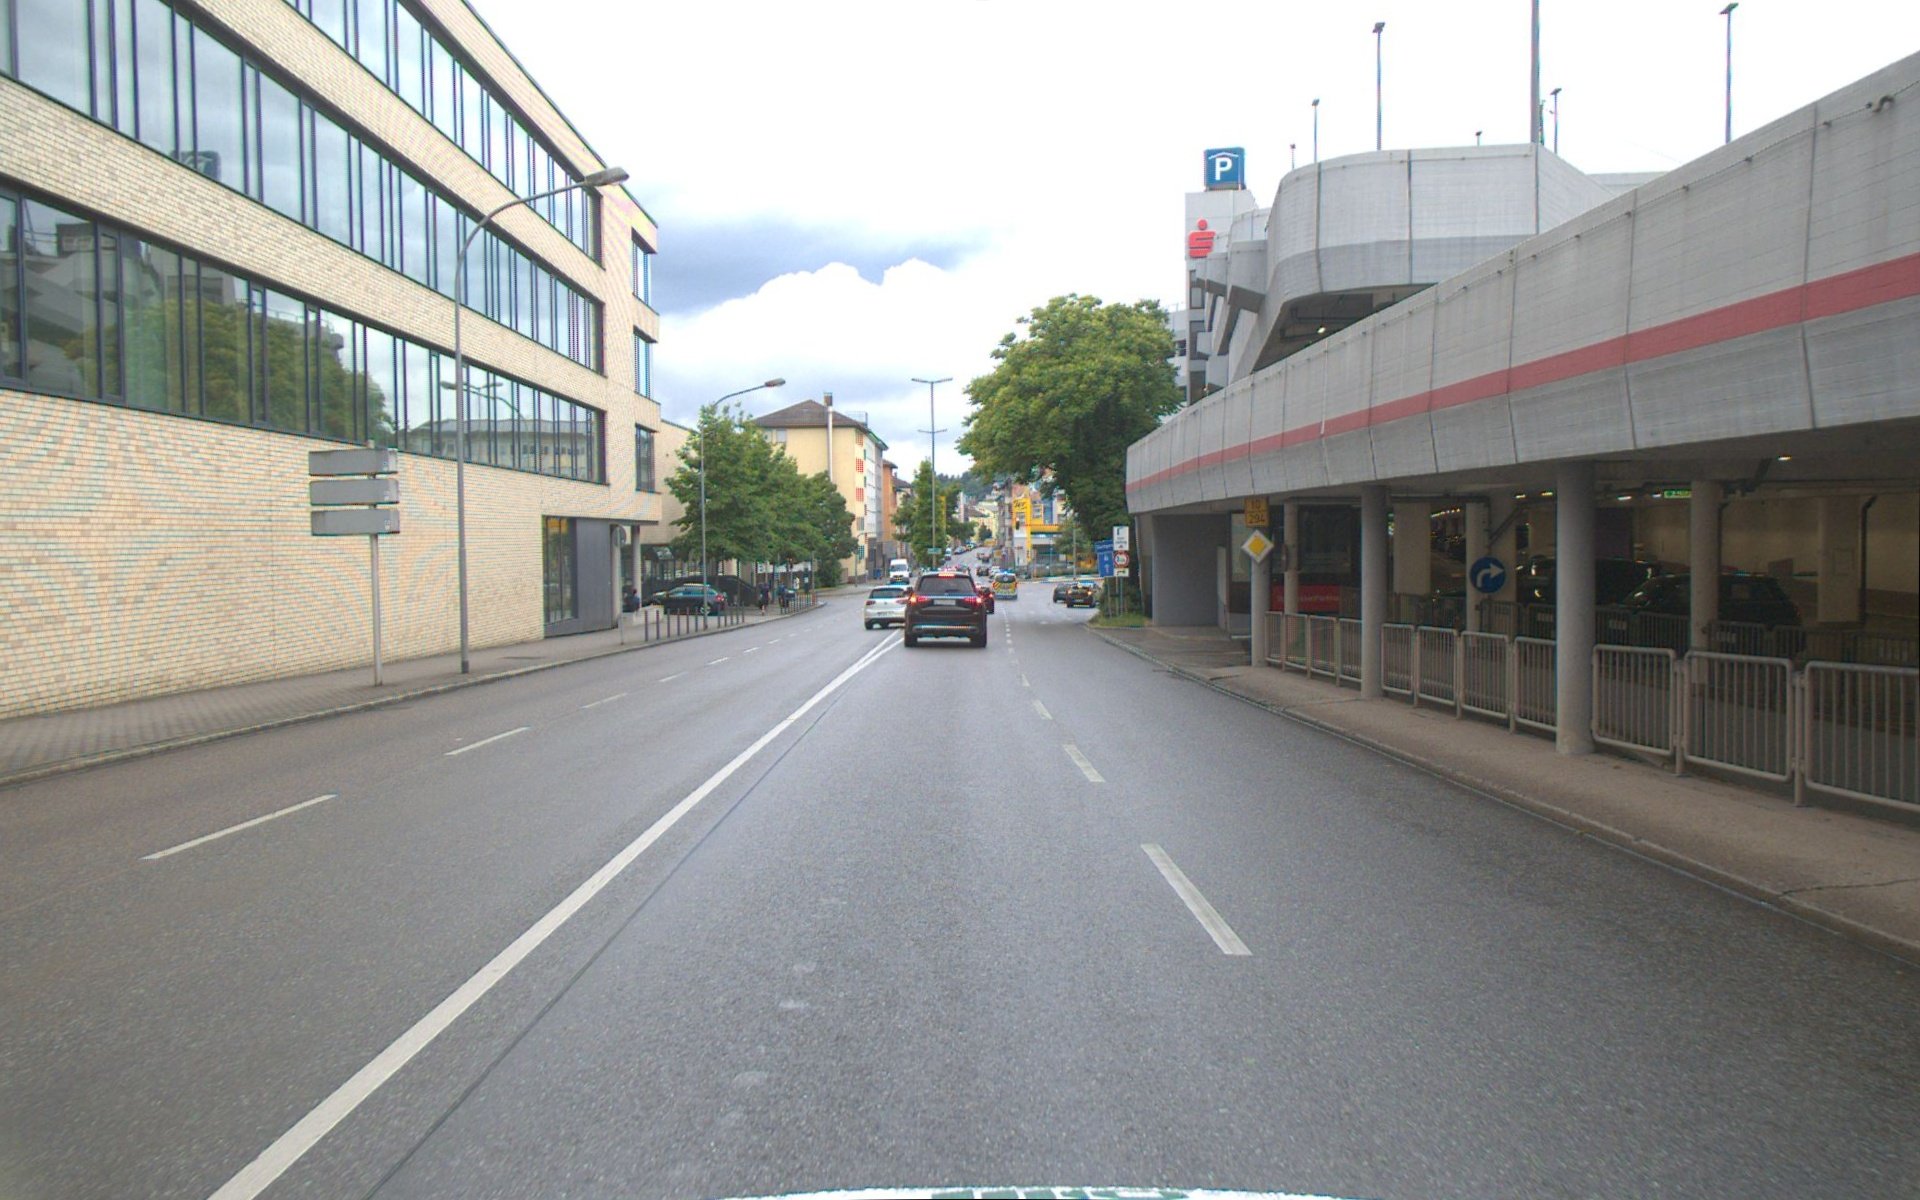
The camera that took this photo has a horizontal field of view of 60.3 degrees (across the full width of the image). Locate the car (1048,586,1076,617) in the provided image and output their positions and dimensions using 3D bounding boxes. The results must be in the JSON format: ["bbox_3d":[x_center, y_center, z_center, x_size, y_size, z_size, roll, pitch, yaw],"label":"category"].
[{"bbox_3d":[7.298,0.098,118.851,1.952,2.165,4.001,1,0,3],"label":"car"}]

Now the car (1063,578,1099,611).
[{"bbox_3d":[7.774,-0.364,106.691,1.953,2.049,4.000,0,1,-1],"label":"car"}]

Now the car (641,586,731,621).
[{"bbox_3d":[-14.101,0.185,85.197,4.382,1.614,1.998,-2,1,-6],"label":"car"}]

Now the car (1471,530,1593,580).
[{"bbox_3d":[20.882,-1.634,60.502,3.902,1.668,2.002,1,0,10],"label":"car"}]

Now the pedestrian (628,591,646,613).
[{"bbox_3d":[-13.123,0.079,67.112,0.574,0.859,0.727,0,0,1],"label":"pedestrian"}]

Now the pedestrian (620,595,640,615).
[{"bbox_3d":[-13.194,0.192,66.132,0.585,0.800,0.760,1,0,1],"label":"pedestrian"}]

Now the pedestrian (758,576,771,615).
[{"bbox_3d":[-10.481,-0.251,88.663,0.576,2.049,0.749,1,-1,-1],"label":"pedestrian"}]

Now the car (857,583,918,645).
[{"bbox_3d":[-2.499,0.494,57.852,1.953,2.049,3.999,1,0,0],"label":"car"}]

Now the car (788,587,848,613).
[{"bbox_3d":[-11.325,0.000,131.712,4.713,2.049,1.997,0,1,-7],"label":"car"}]

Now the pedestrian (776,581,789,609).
[{"bbox_3d":[-11.244,-0.308,104.697,0.674,1.756,0.754,1,-3,0],"label":"pedestrian"}]

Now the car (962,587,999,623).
[{"bbox_3d":[1.017,0.231,83.761,1.669,1.746,3.442,1,0,-2],"label":"car"}]

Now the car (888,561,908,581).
[{"bbox_3d":[-6.558,-3.045,175.242,1.953,1.908,5.141,1,0,-1],"label":"car"}]

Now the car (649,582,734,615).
[{"bbox_3d":[-14.277,-0.080,88.126,4.329,1.601,1.999,1,2,-4],"label":"car"}]

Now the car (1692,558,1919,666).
[{"bbox_3d":[13.727,0.169,26.056,3.643,1.531,1.809,-2,1,8],"label":"car"}]

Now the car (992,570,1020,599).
[{"bbox_3d":[3.397,-1.155,122.591,1.953,2.049,3.999,1,0,0],"label":"car"}]

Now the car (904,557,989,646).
[{"bbox_3d":[-0.316,0.041,40.839,1.953,2.049,3.999,1,0,0],"label":"car"}]

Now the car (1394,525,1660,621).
[{"bbox_3d":[10.533,-0.494,31.033,4.478,1.668,1.823,1,0,11],"label":"car"}]

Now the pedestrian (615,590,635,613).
[{"bbox_3d":[-13.280,0.045,65.614,0.667,0.901,0.524,1,0,1],"label":"pedestrian"}]

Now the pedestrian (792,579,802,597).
[{"bbox_3d":[-13.621,-0.969,138.073,0.696,1.487,0.598,1,-1,0],"label":"pedestrian"}]
